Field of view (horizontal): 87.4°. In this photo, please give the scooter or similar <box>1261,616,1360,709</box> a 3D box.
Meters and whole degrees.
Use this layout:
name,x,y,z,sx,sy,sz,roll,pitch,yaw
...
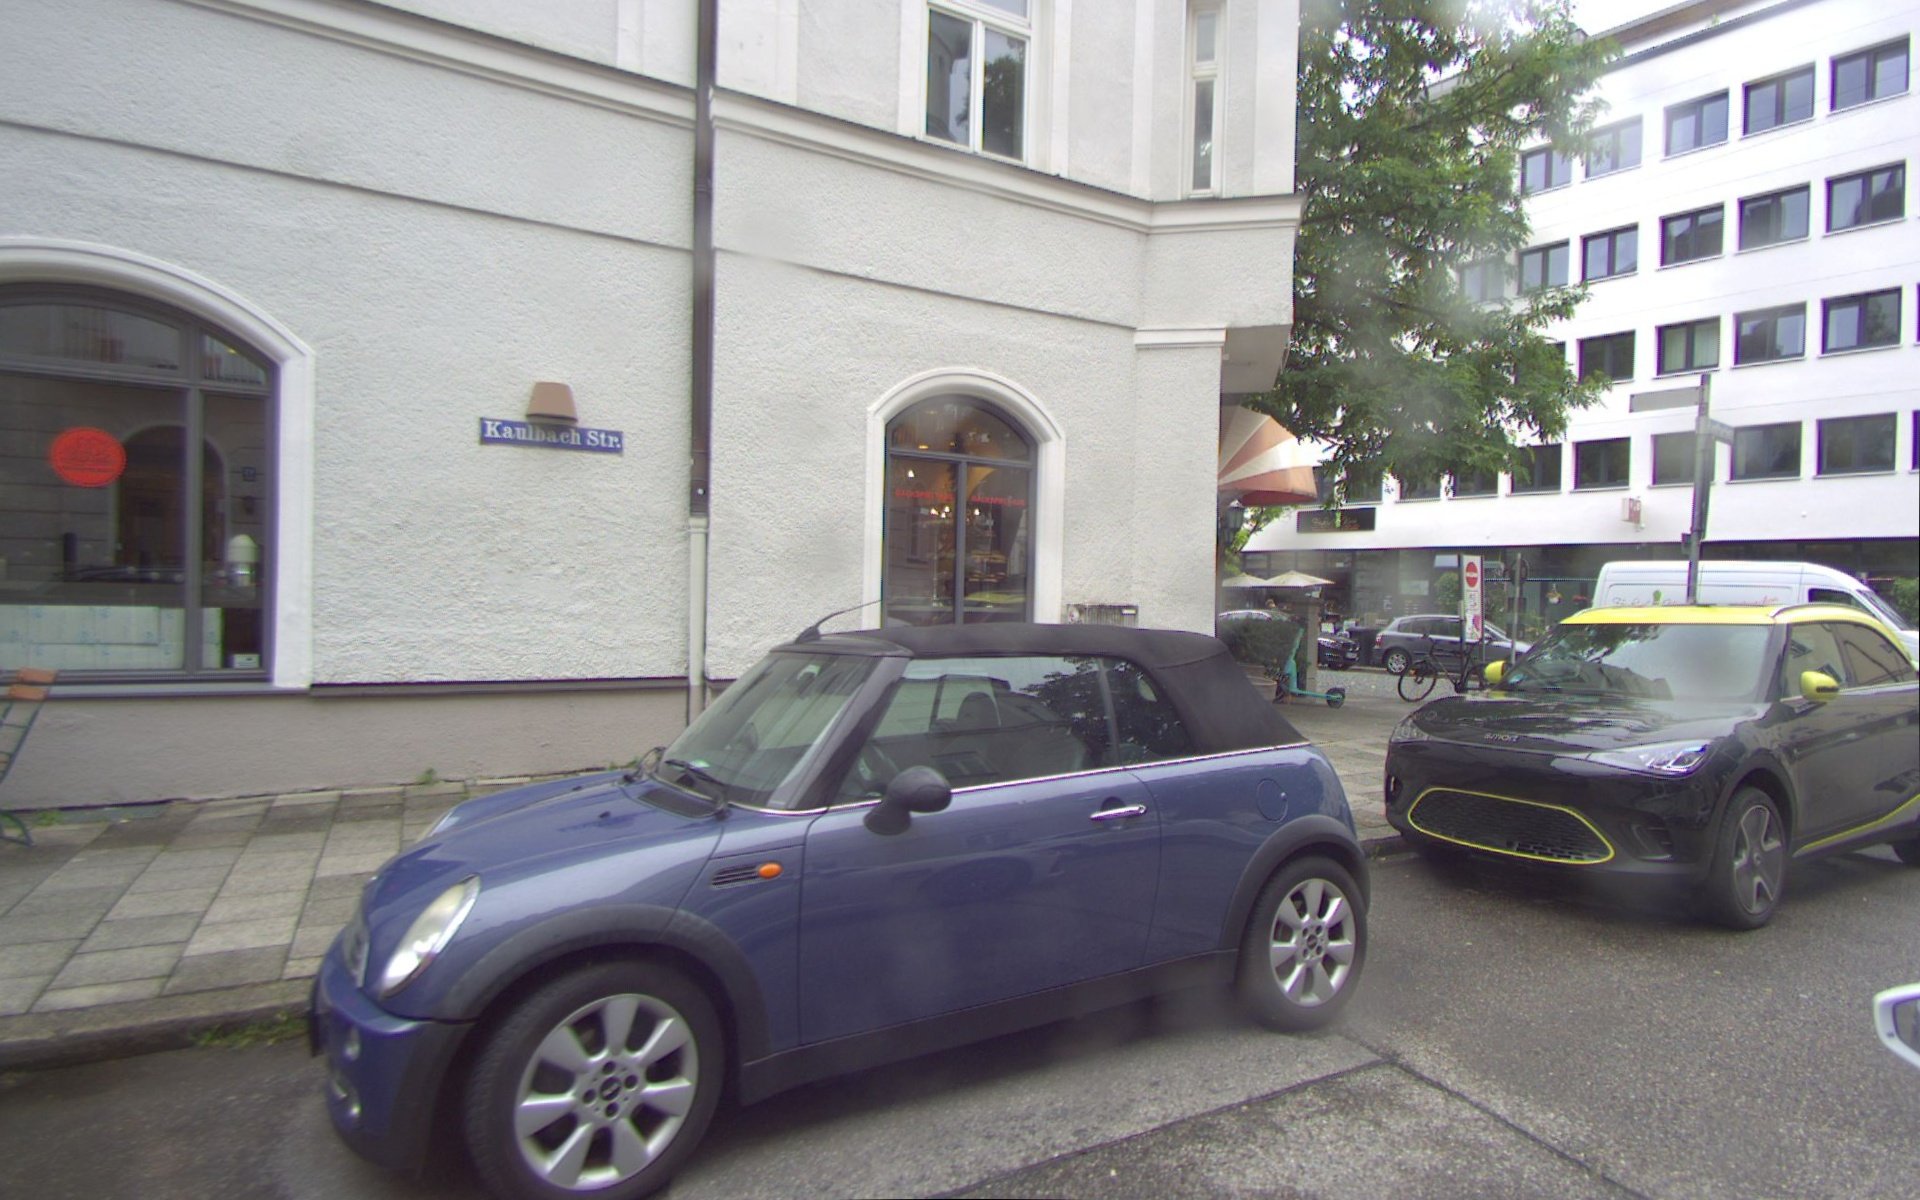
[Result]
name,x,y,z,sx,sy,sz,roll,pitch,yaw
scooter or similar,4.915,0.874,14.094,1.169,1.232,0.553,2,2,-19

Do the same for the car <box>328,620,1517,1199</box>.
name,x,y,z,sx,sy,sz,roll,pitch,yaw
car,0.060,0.803,3.755,3.950,1.408,1.700,1,-2,-28

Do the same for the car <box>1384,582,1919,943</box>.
name,x,y,z,sx,sy,sz,roll,pitch,yaw
car,4.613,0.798,6.243,3.899,1.618,1.668,2,-2,-30

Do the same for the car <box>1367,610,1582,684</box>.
name,x,y,z,sx,sy,sz,roll,pitch,yaw
car,11.767,1.047,23.147,1.788,1.447,4.014,5,-2,-43

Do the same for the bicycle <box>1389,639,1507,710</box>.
name,x,y,z,sx,sy,sz,roll,pitch,yaw
bicycle,7.682,1.149,15.827,1.537,0.959,0.897,3,0,33

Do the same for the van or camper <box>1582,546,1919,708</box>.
name,x,y,z,sx,sy,sz,roll,pitch,yaw
van or camper,15.417,0.472,19.033,1.858,2.712,5.857,3,-1,-39

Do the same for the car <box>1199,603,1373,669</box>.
name,x,y,z,sx,sy,sz,roll,pitch,yaw
car,8.641,0.938,26.892,1.785,1.564,4.092,3,-1,-38
